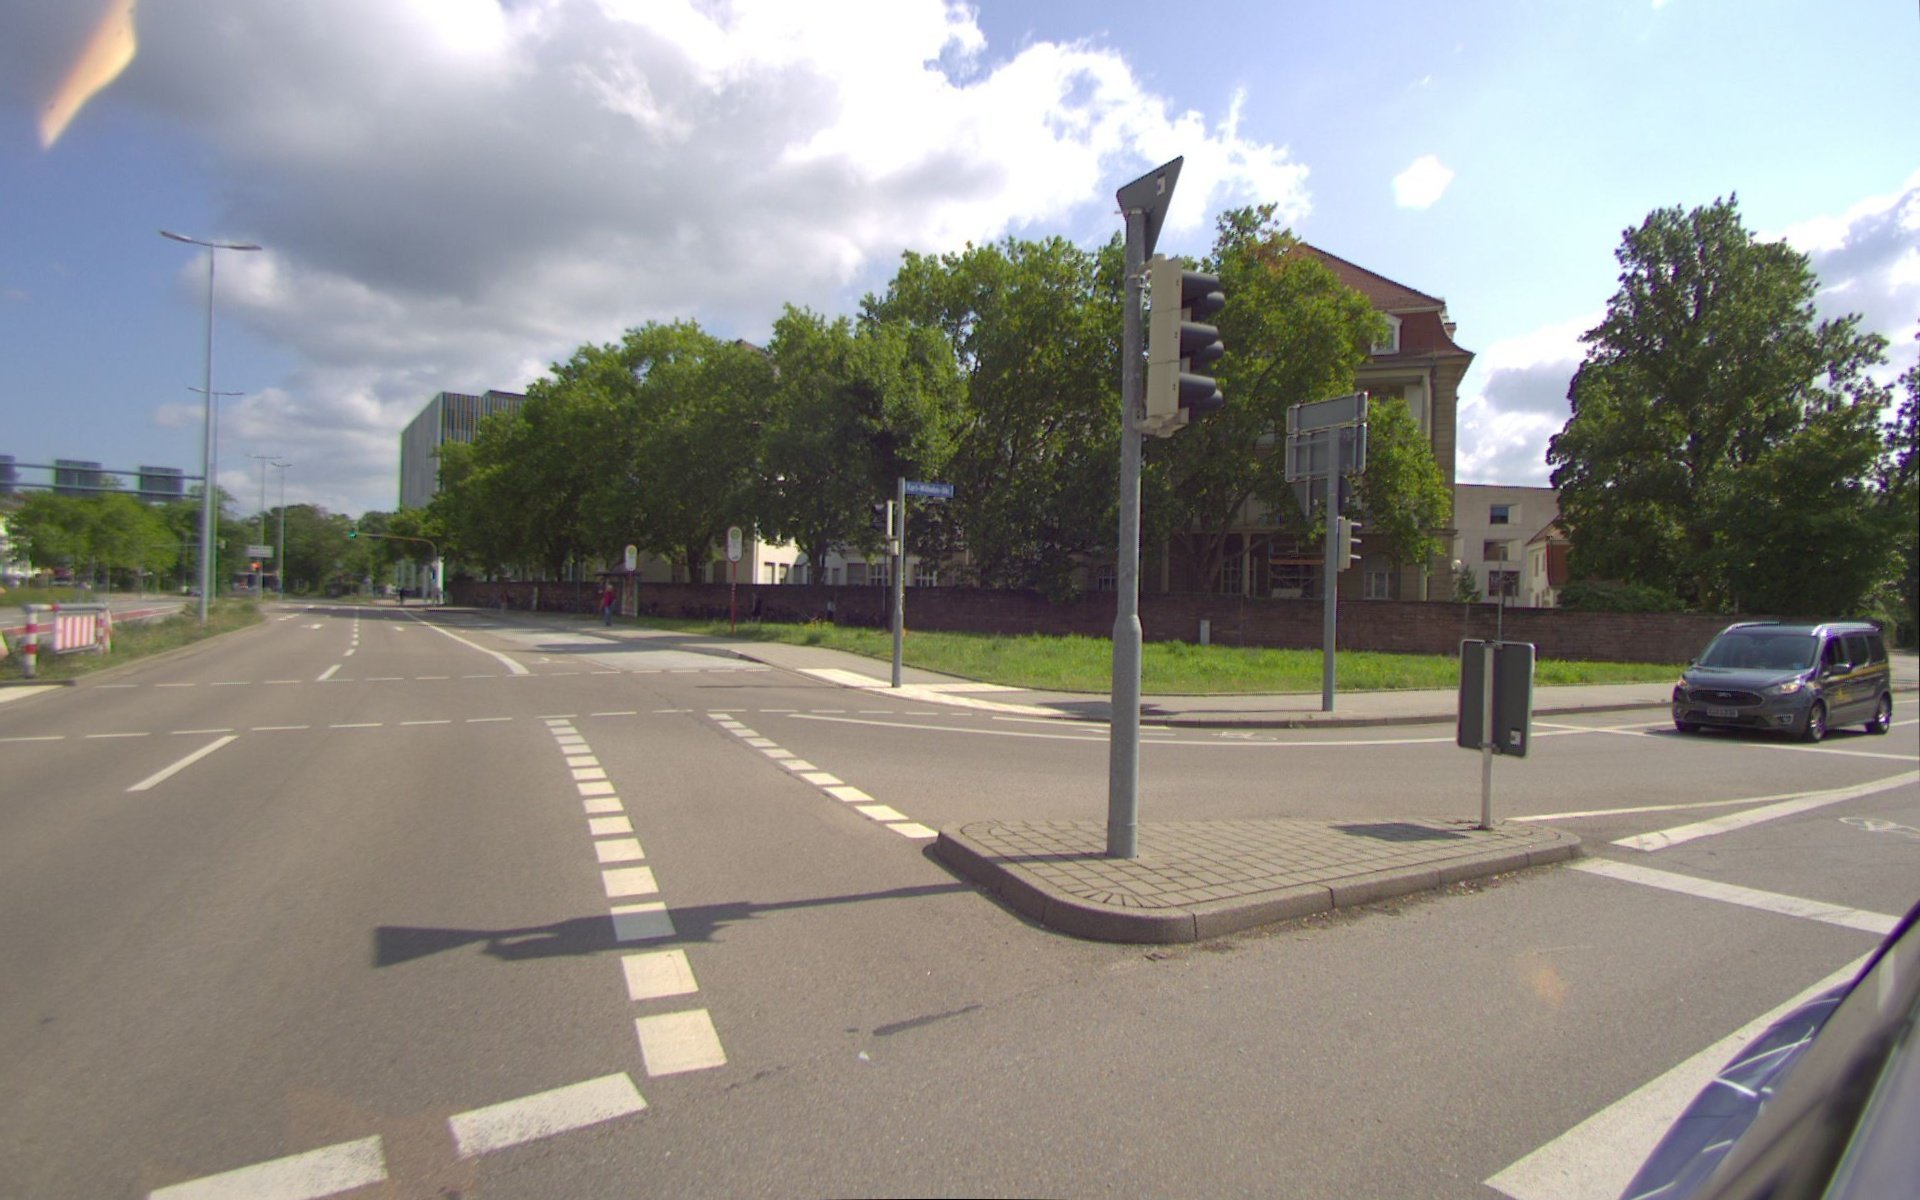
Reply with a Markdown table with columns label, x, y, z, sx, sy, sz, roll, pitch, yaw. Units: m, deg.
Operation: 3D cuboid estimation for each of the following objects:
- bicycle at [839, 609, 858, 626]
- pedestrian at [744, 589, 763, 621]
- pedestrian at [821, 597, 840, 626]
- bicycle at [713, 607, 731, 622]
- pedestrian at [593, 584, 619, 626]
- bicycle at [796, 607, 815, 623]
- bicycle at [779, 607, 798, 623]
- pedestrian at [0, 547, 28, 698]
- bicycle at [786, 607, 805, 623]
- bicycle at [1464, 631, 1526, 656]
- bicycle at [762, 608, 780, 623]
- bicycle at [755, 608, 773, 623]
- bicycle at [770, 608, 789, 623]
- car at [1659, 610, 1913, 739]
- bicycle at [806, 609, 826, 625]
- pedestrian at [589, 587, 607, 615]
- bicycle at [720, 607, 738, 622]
| label | x | y | z | sx | sy | sz | roll | pitch | yaw |
| --- | --- | --- | --- | --- | --- | --- | --- | --- | --- |
| bicycle | -5.905 | 0.919 | 53.722 | 0.479 | 0.859 | 0.961 | 1 | 0 | 33 |
| pedestrian | -11.243 | 0.277 | 55.167 | 0.738 | 1.744 | 0.655 | 2 | 0 | 37 |
| pedestrian | -6.873 | 0.607 | 53.623 | 0.718 | 1.553 | 0.718 | 1 | 0 | 30 |
| bicycle | -13.971 | 0.865 | 59.338 | 0.479 | 0.859 | 0.961 | 1 | 0 | 33 |
| pedestrian | -15.538 | 0.222 | 44.415 | 0.963 | 1.802 | 0.737 | 1 | 0 | 45 |
| bicycle | -8.480 | 0.837 | 55.598 | 0.479 | 0.859 | 0.961 | 1 | 0 | 33 |
| bicycle | -9.540 | 0.856 | 56.340 | 0.479 | 0.859 | 0.961 | 1 | 0 | 33 |
| pedestrian | -12.503 | 0.279 | 12.646 | 1.159 | 1.881 | 0.698 | 1 | -2 | -37 |
| bicycle | -9.109 | 0.845 | 55.976 | 0.479 | 0.859 | 0.961 | 1 | 0 | 33 |
| bicycle | 21.776 | 1.756 | 41.195 | 2.027 | 0.871 | 0.856 | 2 | 2 | 10 |
| bicycle | -10.646 | 0.876 | 57.064 | 0.479 | 0.859 | 0.961 | 1 | 0 | 33 |
| bicycle | -11.110 | 0.883 | 57.362 | 0.479 | 0.859 | 0.961 | 1 | 0 | 33 |
| bicycle | -10.103 | 0.866 | 56.711 | 0.479 | 0.859 | 0.961 | 1 | 0 | 33 |
| car | 13.346 | 1.115 | 16.278 | 4.580 | 1.808 | 1.855 | 2 | -2 | -33 |
| bicycle | -7.851 | 0.945 | 55.061 | 0.496 | 0.859 | 1.061 | 1 | 0 | 33 |
| pedestrian | -23.251 | 0.062 | 64.987 | 0.870 | 1.803 | 0.771 | 2 | -1 | -34 |
| bicycle | -13.482 | 0.858 | 59.035 | 0.479 | 0.859 | 0.961 | 1 | 0 | 33 |
